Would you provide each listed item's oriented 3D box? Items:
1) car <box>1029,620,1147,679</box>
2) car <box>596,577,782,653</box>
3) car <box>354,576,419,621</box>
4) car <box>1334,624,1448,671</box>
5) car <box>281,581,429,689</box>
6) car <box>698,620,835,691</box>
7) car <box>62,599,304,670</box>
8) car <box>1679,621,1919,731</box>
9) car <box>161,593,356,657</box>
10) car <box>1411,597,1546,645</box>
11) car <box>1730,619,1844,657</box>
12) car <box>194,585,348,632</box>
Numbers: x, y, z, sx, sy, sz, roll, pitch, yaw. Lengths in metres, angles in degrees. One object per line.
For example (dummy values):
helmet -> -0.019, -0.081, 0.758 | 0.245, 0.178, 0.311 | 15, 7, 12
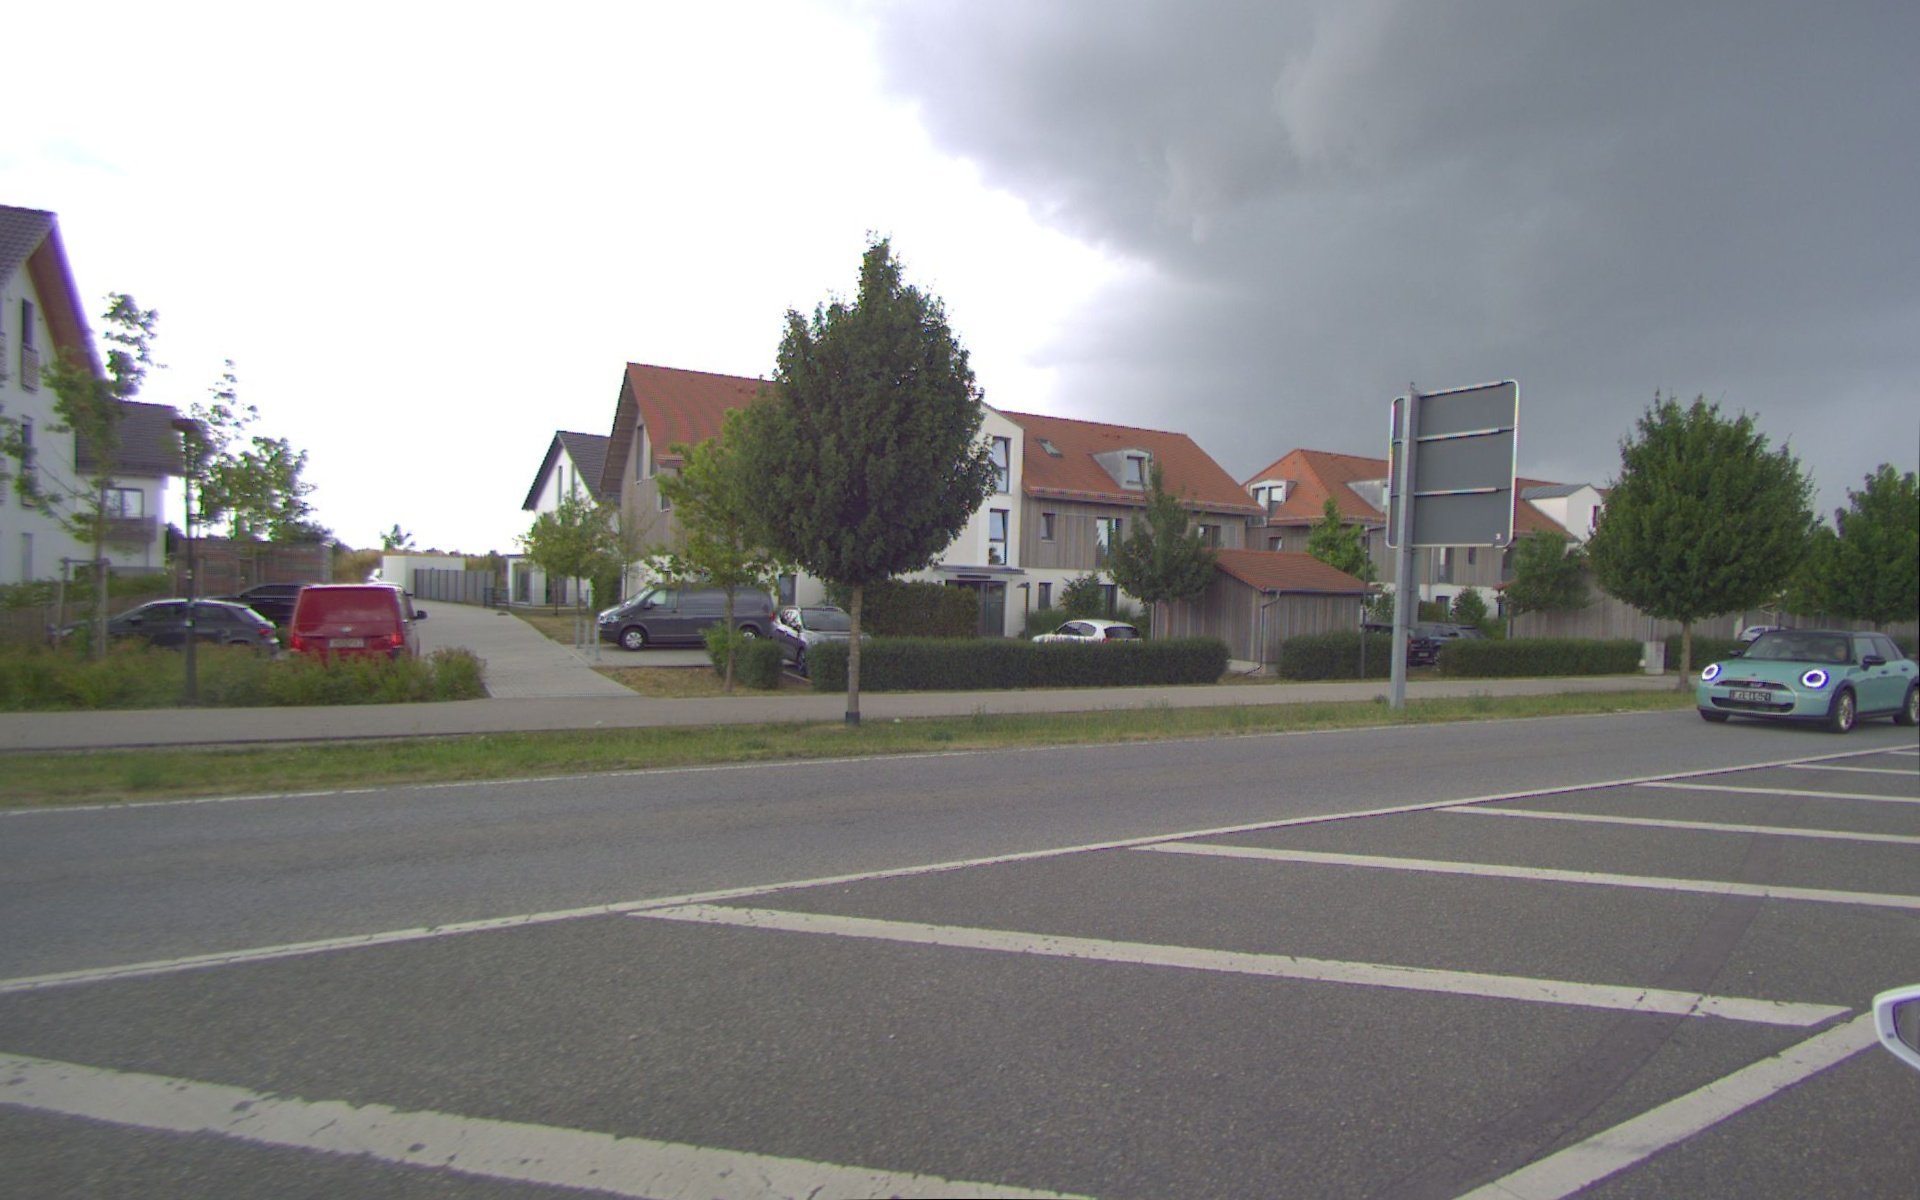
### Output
car -> 3.581, 1.355, 28.567 | 1.545, 1.509, 3.498 | 1, 0, -29
car -> -8.186, 0.454, 30.409 | 5.133, 2.041, 1.986 | 1, 4, -27
car -> -21.961, -0.047, 38.578 | 1.975, 1.607, 3.972 | 1, 0, -27
car -> 15.116, 1.628, 35.389 | 1.545, 1.509, 3.498 | 1, 0, -29
car -> -11.776, 0.618, 19.860 | 1.880, 1.840, 4.892 | 1, 0, -24
car -> -4.779, 1.251, 24.262 | 1.882, 1.449, 4.885 | 1, 0, -28
car -> -16.868, 0.738, 22.096 | 3.953, 1.439, 1.867 | 1, 0, -30
car -> 12.964, 1.076, 15.345 | 3.953, 1.463, 1.762 | 1, 0, -30
car -> -18.057, 0.636, 26.124 | 3.953, 1.528, 1.984 | 1, 0, -30
car -> 18.736, 0.731, 36.451 | 1.975, 1.639, 3.971 | 1, 0, -28
car -> 41.727, 1.899, 50.761 | 1.975, 1.577, 3.970 | 1, 2, -28
car -> -22.206, 0.284, 32.590 | 3.953, 1.439, 1.867 | 1, 0, -30
